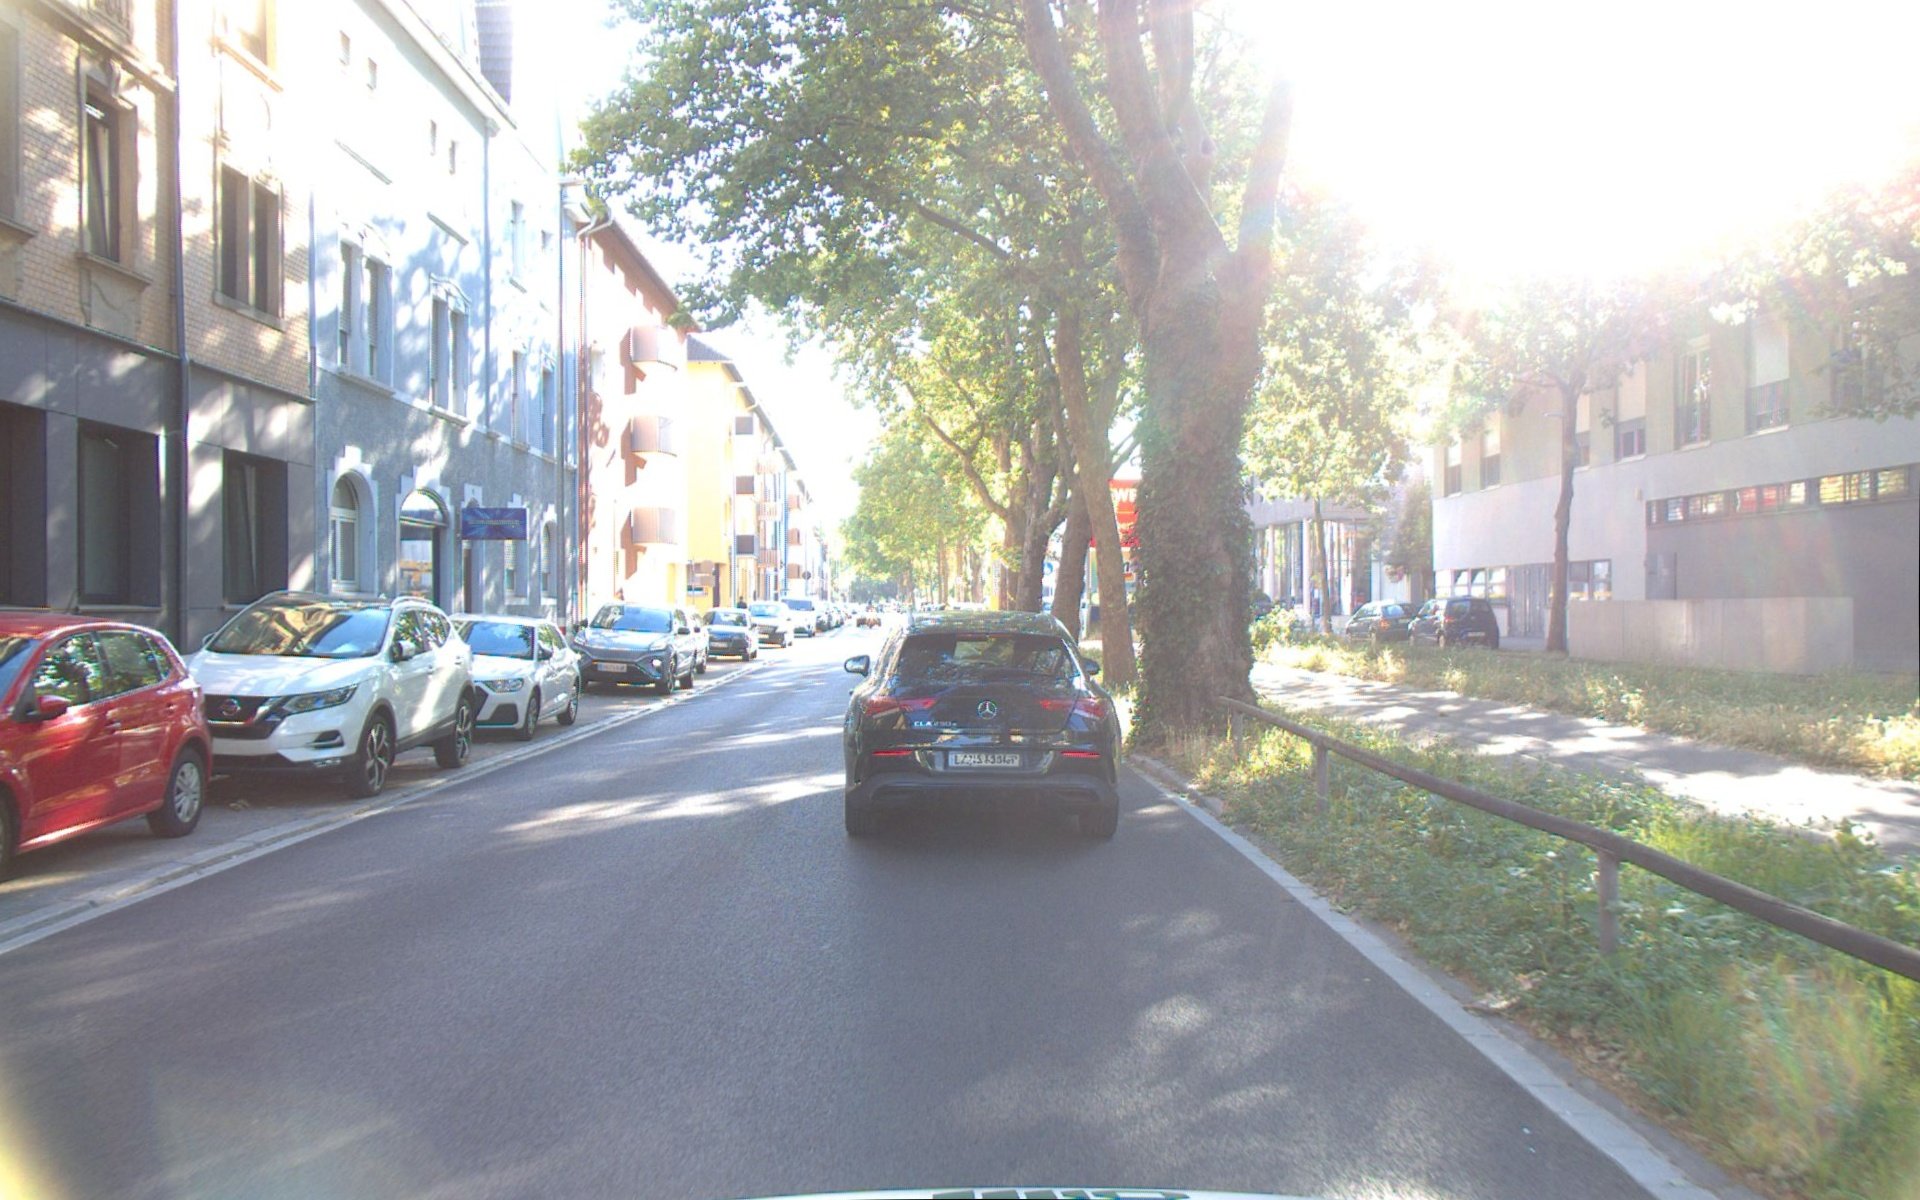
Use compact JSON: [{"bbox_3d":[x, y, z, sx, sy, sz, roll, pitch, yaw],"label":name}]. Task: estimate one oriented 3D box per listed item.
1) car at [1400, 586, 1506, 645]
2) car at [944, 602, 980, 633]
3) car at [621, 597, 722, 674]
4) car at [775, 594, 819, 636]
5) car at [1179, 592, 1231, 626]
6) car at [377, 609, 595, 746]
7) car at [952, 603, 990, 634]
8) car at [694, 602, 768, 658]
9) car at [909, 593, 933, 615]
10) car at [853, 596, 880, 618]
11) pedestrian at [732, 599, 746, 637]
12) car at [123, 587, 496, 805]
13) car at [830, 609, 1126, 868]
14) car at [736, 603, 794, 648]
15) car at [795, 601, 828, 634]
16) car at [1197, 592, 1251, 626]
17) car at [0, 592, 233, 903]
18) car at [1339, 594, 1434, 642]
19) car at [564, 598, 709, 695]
[{"bbox_3d":[14.093,0.428,47.478,1.821,1.580,3.758,-1,0,-2],"label":"car"},{"bbox_3d":[0.079,0.970,91.922,1.774,1.565,4.581,-3,-1,-2],"label":"car"},{"bbox_3d":[-6.638,0.786,38.418,1.643,1.670,3.984,1,0,-1],"label":"car"},{"bbox_3d":[-7.908,0.711,80.700,1.699,1.940,5.208,0,0,-1],"label":"car"},{"bbox_3d":[13.055,0.489,88.336,1.839,1.764,4.176,-1,0,-5],"label":"car"},{"bbox_3d":[-5.861,0.895,20.903,1.643,1.522,3.871,1,0,-1],"label":"car"},{"bbox_3d":[0.554,0.938,85.107,1.602,1.493,4.018,-2,-1,-4],"label":"car"},{"bbox_3d":[-6.505,0.833,47.282,1.643,1.512,3.600,1,0,-1],"label":"car"},{"bbox_3d":[-3.717,0.403,157.775,1.955,2.049,3.994,0,-2,-6],"label":"car"},{"bbox_3d":[-6.573,0.484,116.626,1.735,1.504,4.320,-1,0,-2],"label":"car"},{"bbox_3d":[-10.745,0.866,80.448,0.575,1.821,0.642,-1,0,-2],"label":"pedestrian"},{"bbox_3d":[-5.510,0.729,14.611,1.643,1.612,4.199,1,0,-1],"label":"car"},{"bbox_3d":[0.085,0.824,11.665,1.709,1.469,3.968,1,0,-1],"label":"car"},{"bbox_3d":[-7.089,0.907,60.348,1.643,1.550,4.020,1,0,-1],"label":"car"},{"bbox_3d":[-8.392,0.970,93.443,1.711,1.819,4.546,1,0,-4],"label":"car"},{"bbox_3d":[14.074,0.467,88.263,1.946,1.764,4.177,-1,0,-4],"label":"car"},{"bbox_3d":[-5.875,0.771,9.618,1.643,1.620,3.756,1,0,-1],"label":"car"},{"bbox_3d":[13.903,0.578,54.115,1.822,1.494,4.121,-1,0,-4],"label":"car"},{"bbox_3d":[-6.028,0.827,31.381,1.869,1.670,4.576,1,0,-1],"label":"car"}]
